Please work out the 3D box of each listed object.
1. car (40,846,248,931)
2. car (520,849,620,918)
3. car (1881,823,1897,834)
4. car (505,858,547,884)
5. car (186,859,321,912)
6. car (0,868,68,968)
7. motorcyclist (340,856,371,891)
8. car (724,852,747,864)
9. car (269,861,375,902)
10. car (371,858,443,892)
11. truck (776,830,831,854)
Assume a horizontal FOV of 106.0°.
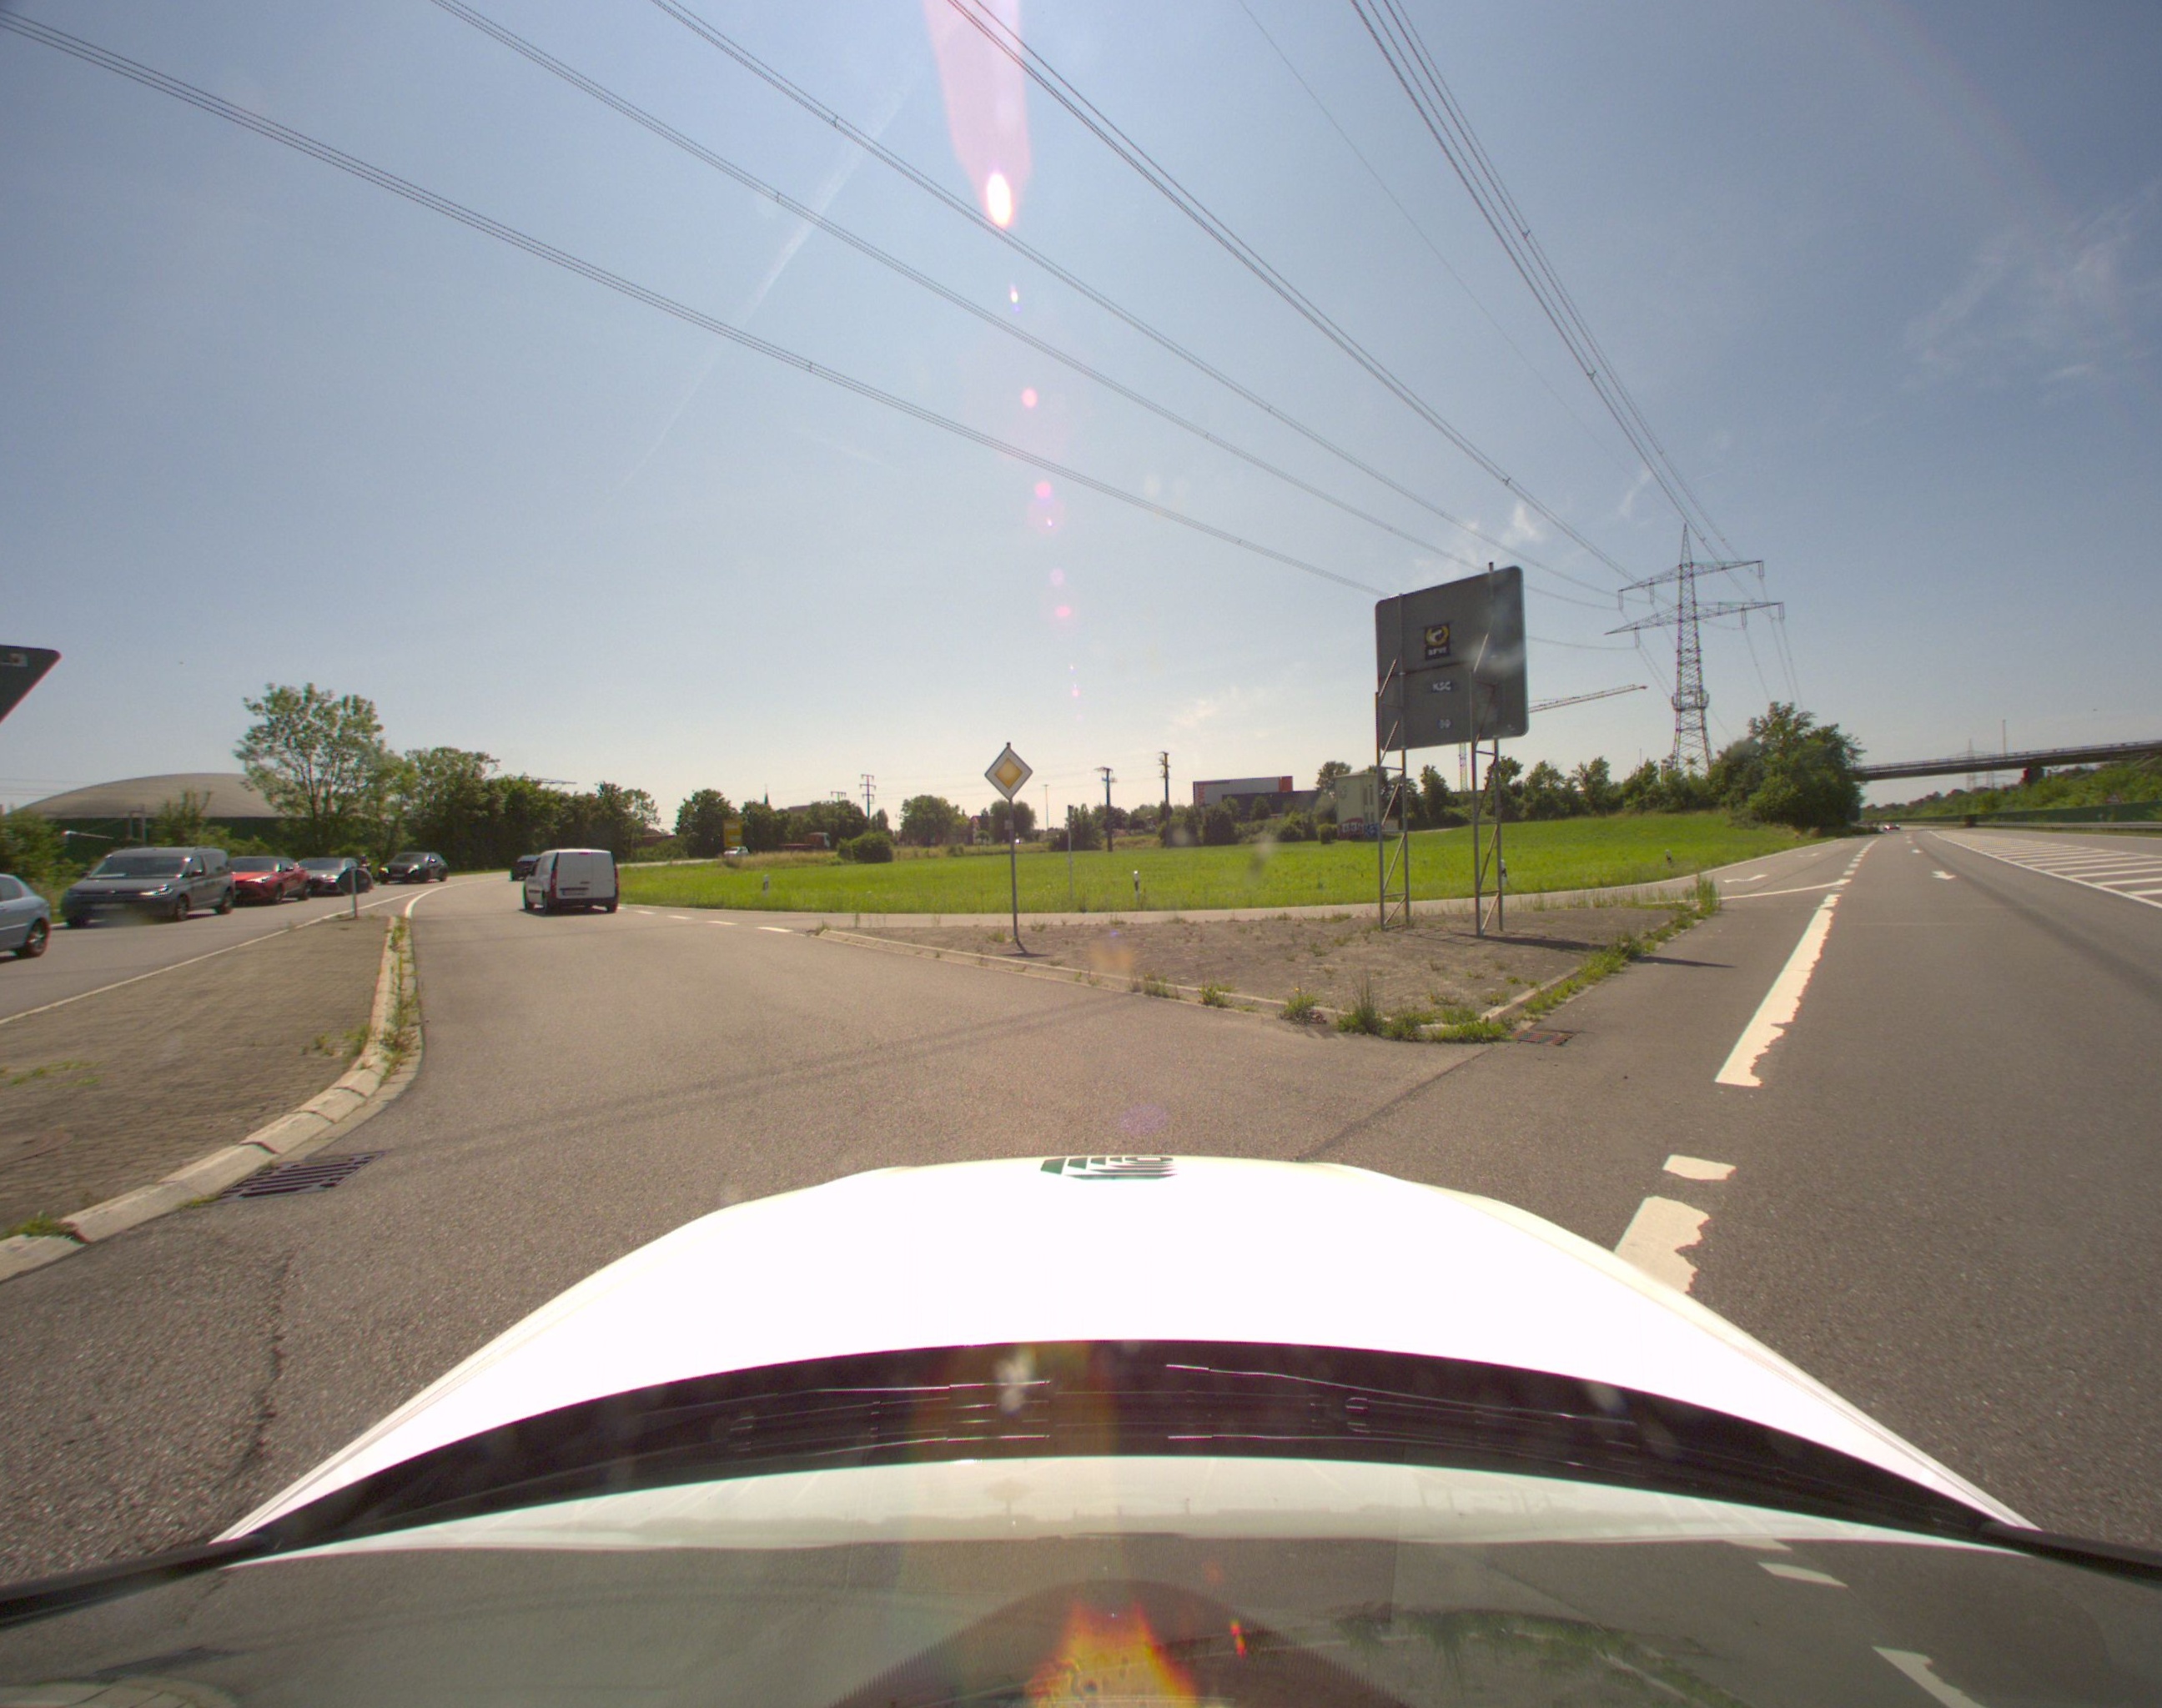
[{"bbox_3d":[-23.313,0.789,20.528,1.937,1.832,4.398,-2,0,-28],"label":"car"},{"bbox_3d":[-14.743,0.799,23.423,1.920,1.732,3.778,-2,0,-40],"label":"car"},{"bbox_3d":[136.026,-4.272,137.103,4.023,1.723,1.703,-3,1,-44],"label":"car"},{"bbox_3d":[-32.575,0.980,47.878,1.730,1.420,3.709,-2,0,-30],"label":"car"},{"bbox_3d":[-26.816,0.971,26.583,1.809,1.515,4.351,-2,0,-28],"label":"car"},{"bbox_3d":[-17.051,1.009,11.881,1.644,1.459,3.967,-2,1,-33],"label":"car"},{"bbox_3d":[-32.345,0.864,36.320,0.785,1.495,1.120,-1,0,-29],"label":"motorcyclist"},{"bbox_3d":[-43.148,0.562,101.685,1.533,1.443,3.602,1,-1,-4],"label":"car"},{"bbox_3d":[-29.647,1.012,31.986,1.852,1.460,4.765,-1,0,-28],"label":"car"},{"bbox_3d":[-35.127,1.046,42.556,1.709,1.638,4.217,0,0,-23],"label":"car"},{"bbox_3d":[-37.916,-1.566,111.740,3.078,3.137,8.831,-1,-1,12],"label":"truck"}]
